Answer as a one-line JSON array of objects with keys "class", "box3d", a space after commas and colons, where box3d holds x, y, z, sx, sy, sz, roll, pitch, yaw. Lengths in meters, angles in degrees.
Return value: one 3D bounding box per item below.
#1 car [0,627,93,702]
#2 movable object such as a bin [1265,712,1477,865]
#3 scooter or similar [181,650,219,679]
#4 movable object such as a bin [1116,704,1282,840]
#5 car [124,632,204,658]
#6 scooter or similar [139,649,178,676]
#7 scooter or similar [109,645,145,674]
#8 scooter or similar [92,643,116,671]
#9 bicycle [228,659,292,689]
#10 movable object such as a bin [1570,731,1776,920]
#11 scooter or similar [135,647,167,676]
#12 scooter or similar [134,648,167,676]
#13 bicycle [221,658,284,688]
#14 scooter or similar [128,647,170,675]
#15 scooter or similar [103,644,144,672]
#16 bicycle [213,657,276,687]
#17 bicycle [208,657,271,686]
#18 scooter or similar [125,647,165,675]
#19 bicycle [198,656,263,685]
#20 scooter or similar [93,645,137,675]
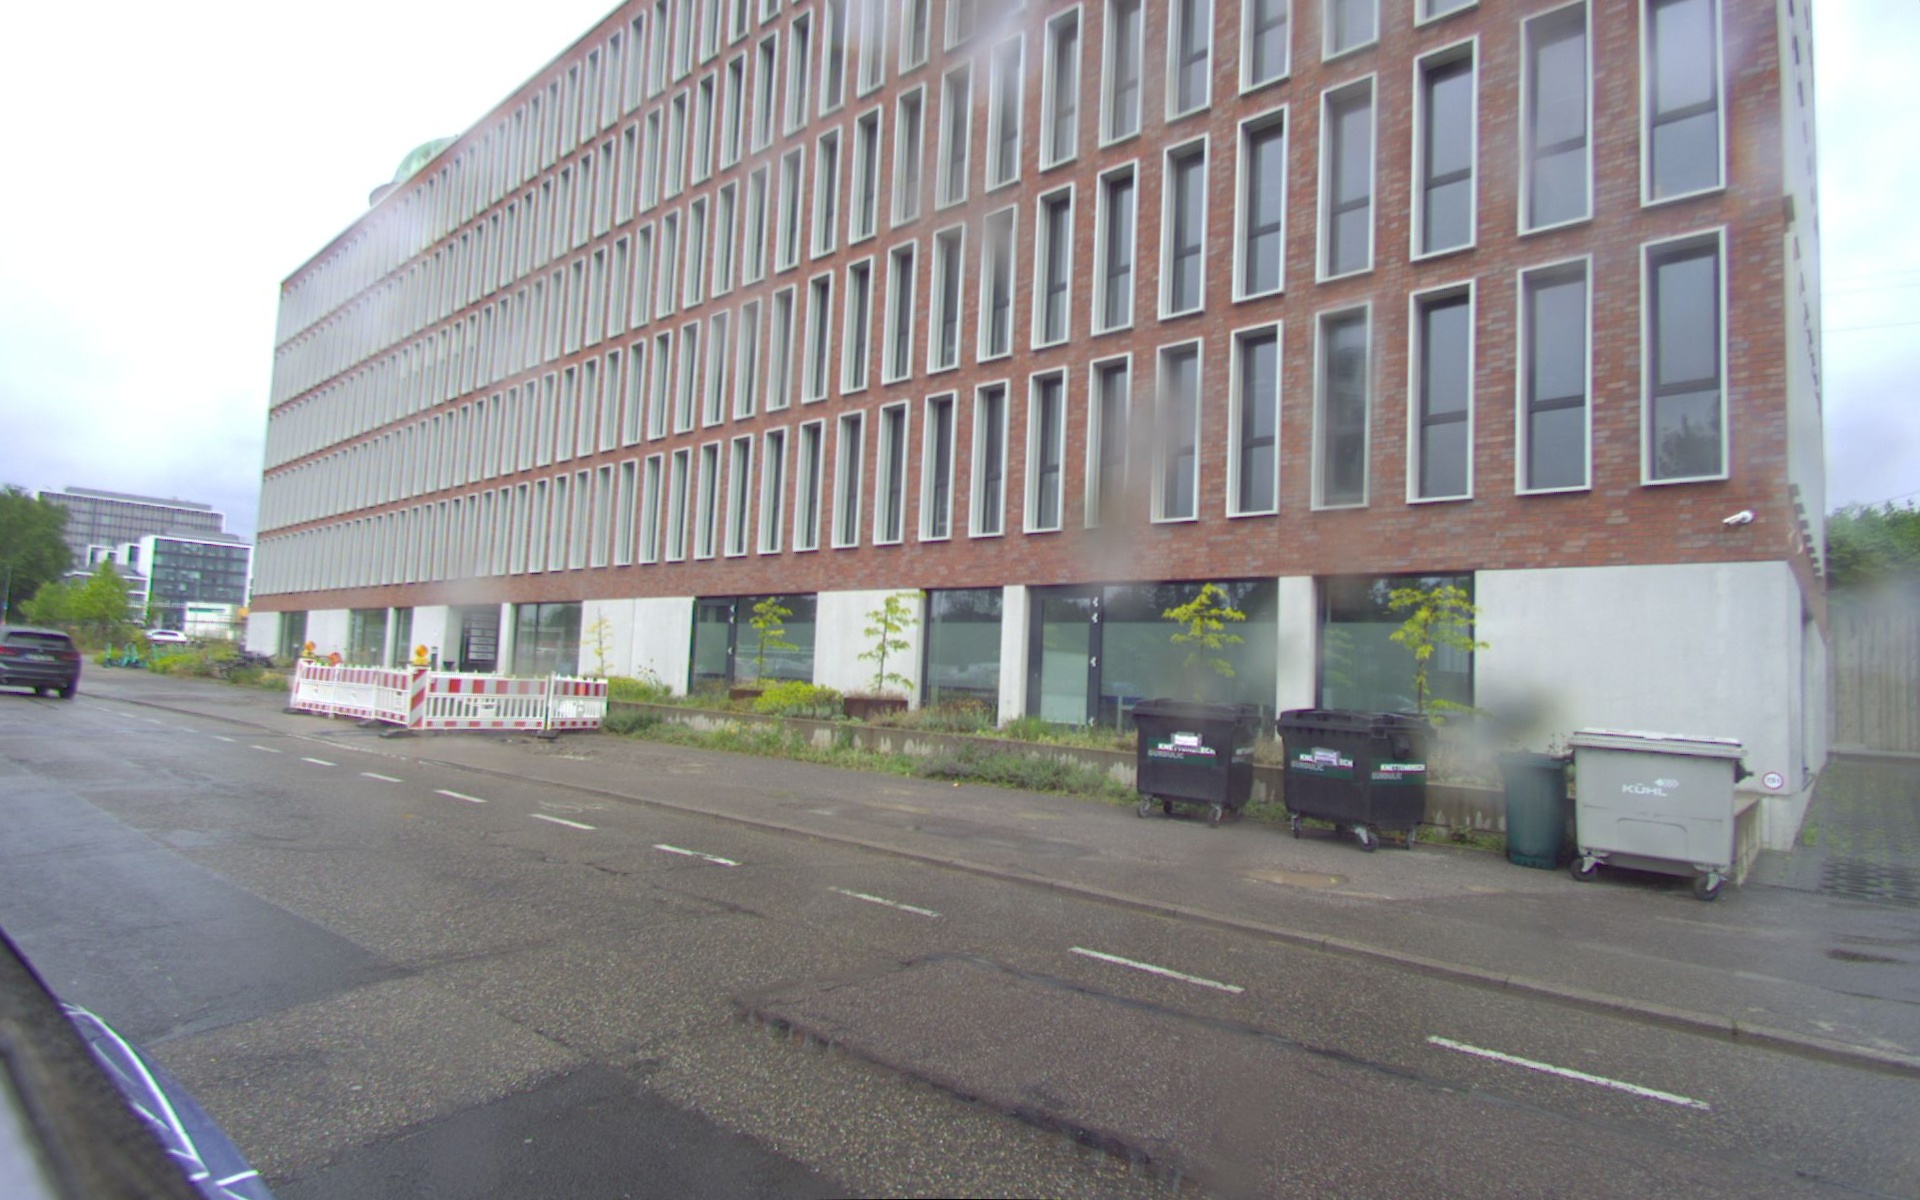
[{"class": "car", "box3d": [-22.604, 1.497, 24.180, 4.140, 1.580, 1.744, 0, -8, 35]}, {"class": "movable object such as a bin", "box3d": [4.139, 1.859, 10.267, 1.355, 1.318, 1.453, 5, -6, -28]}, {"class": "scooter or similar", "box3d": [-33.736, 2.866, 44.924, 1.212, 1.217, 0.418, 9, -8, -43]}, {"class": "movable object such as a bin", "box3d": [2.699, 1.872, 11.366, 1.444, 1.318, 1.285, 0, -6, 34]}, {"class": "car", "box3d": [-62.016, 3.552, 78.897, 1.997, 1.653, 4.479, 0, -6, 37]}, {"class": "scooter or similar", "box3d": [-37.749, 2.941, 47.680, 1.301, 1.186, 0.468, 9, -8, -44]}, {"class": "scooter or similar", "box3d": [-38.266, 2.740, 46.488, 1.307, 1.239, 0.466, 2, -6, 12]}, {"class": "scooter or similar", "box3d": [-39.648, 2.651, 46.865, 1.318, 1.239, 0.461, -1, -7, 37]}, {"class": "bicycle", "box3d": [-26.333, 2.784, 38.074, 0.544, 1.085, 1.841, 0, -4, 38]}, {"class": "movable object such as a bin", "box3d": [6.120, 1.846, 8.703, 1.357, 1.342, 1.283, -1, -6, 38]}, {"class": "scooter or similar", "box3d": [-36.436, 2.790, 45.589, 0.460, 1.239, 1.210, 4, -6, -8]}, {"class": "scooter or similar", "box3d": [-35.932, 2.766, 44.950, 0.460, 1.217, 1.210, 4, -6, -8]}, {"class": "bicycle", "box3d": [-26.964, 2.774, 38.584, 0.544, 1.085, 1.841, 0, -4, 38]}, {"class": "scooter or similar", "box3d": [-37.147, 2.810, 46.360, 0.465, 1.186, 1.308, 1, -6, 28]}, {"class": "scooter or similar", "box3d": [-39.602, 2.746, 47.937, 1.299, 1.239, 0.509, 5, -6, -11]}, {"class": "bicycle", "box3d": [-27.623, 2.783, 39.104, 0.544, 1.085, 1.841, 0, -4, 38]}, {"class": "bicycle", "box3d": [-28.112, 2.794, 39.505, 0.544, 1.085, 1.841, 0, -4, 38]}, {"class": "scooter or similar", "box3d": [-38.438, 2.875, 47.743, 1.301, 1.186, 0.468, 9, -8, -44]}, {"class": "bicycle", "box3d": [-28.777, 2.792, 39.968, 0.620, 1.085, 1.929, 0, -4, 38]}, {"class": "scooter or similar", "box3d": [-37.707, 2.669, 45.157, 1.298, 1.239, 0.469, 6, -6, -21]}]
